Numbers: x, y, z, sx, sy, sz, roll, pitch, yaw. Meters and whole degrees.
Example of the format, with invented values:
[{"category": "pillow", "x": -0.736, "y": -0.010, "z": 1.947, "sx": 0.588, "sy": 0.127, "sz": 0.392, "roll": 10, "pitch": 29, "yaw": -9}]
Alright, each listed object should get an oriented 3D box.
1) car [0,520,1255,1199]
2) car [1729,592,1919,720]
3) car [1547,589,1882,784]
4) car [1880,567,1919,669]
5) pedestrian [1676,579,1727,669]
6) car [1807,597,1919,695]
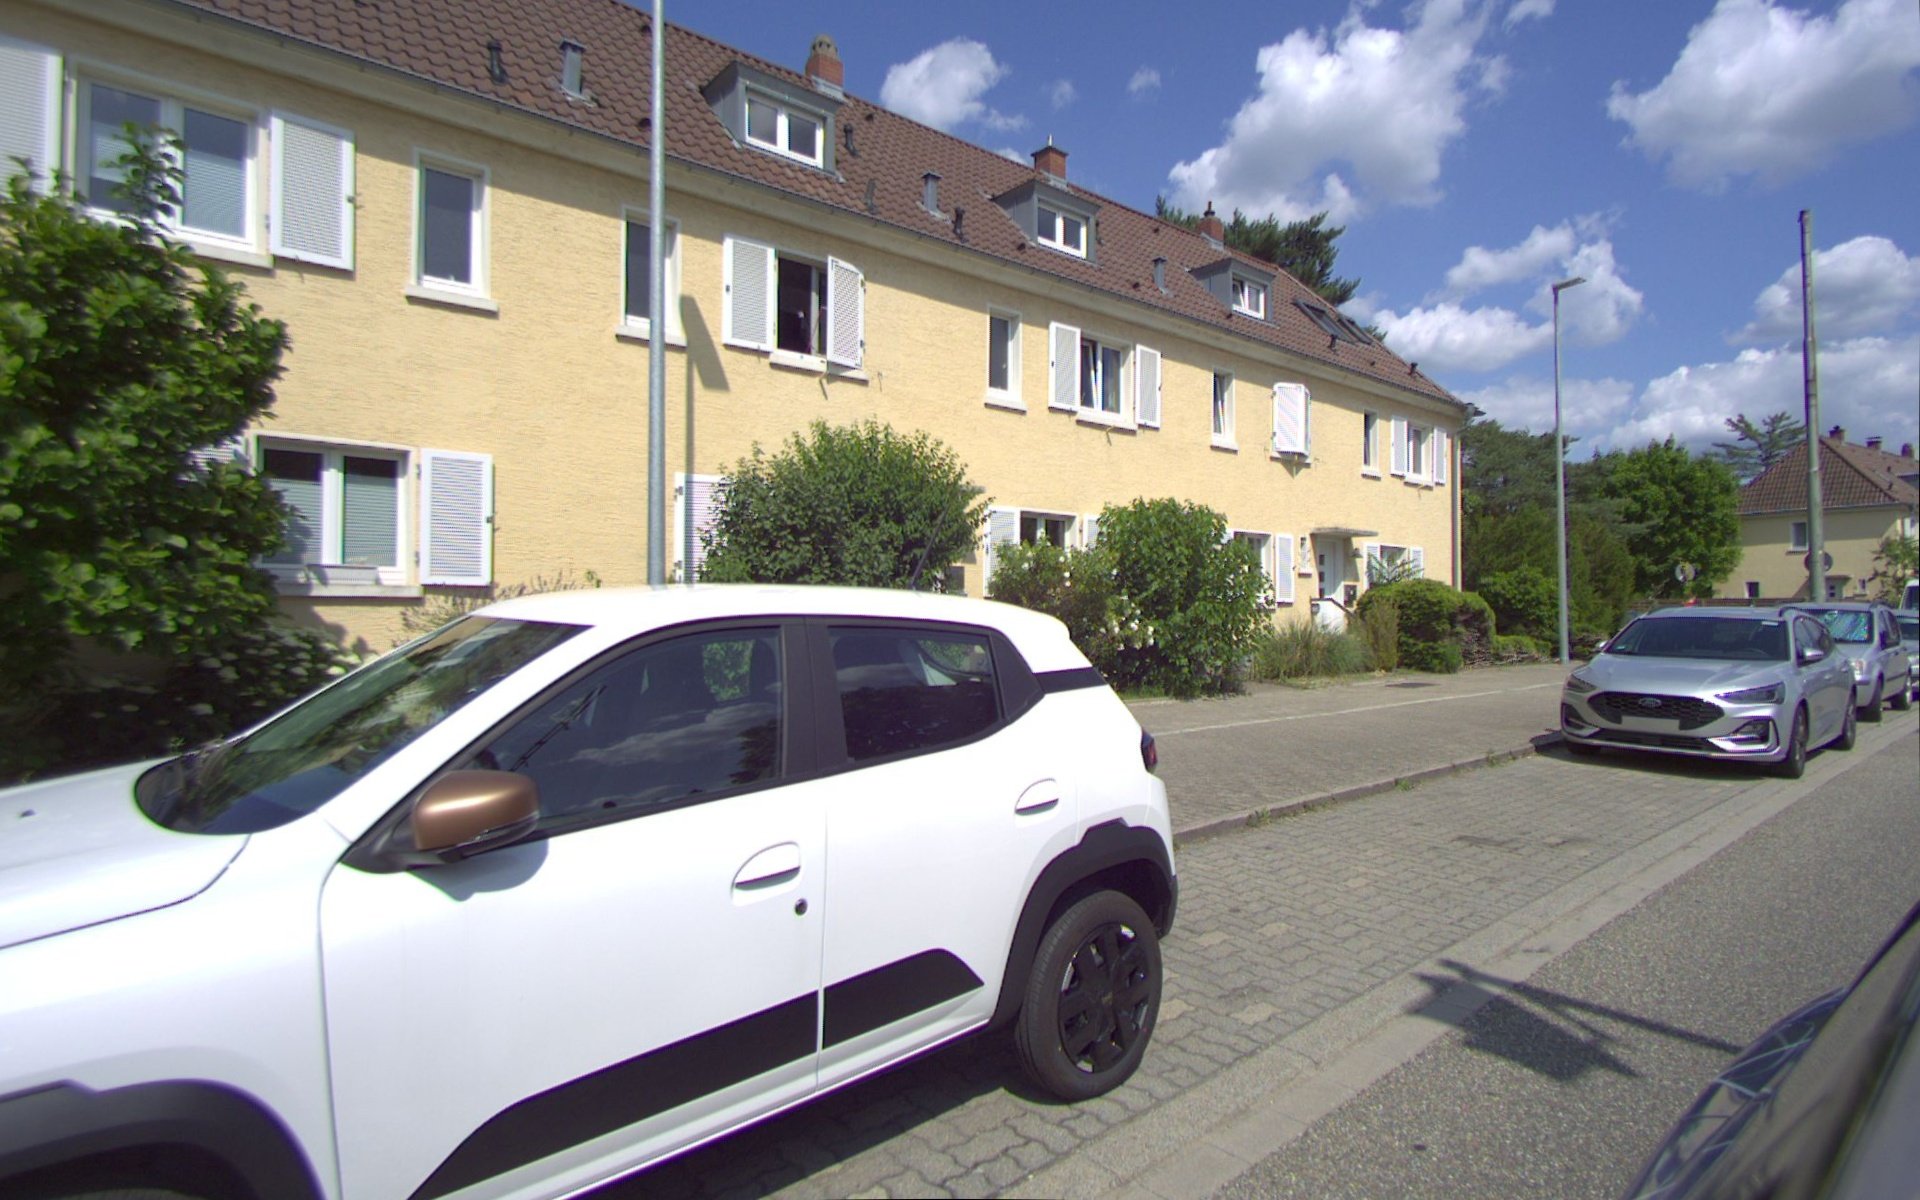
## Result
[{"category": "car", "x": -0.928, "y": 0.639, "z": 2.711, "sx": 3.742, "sy": 1.500, "sz": 1.530, "roll": 0, "pitch": 0, "yaw": -41}, {"category": "car", "x": 12.355, "y": 0.692, "z": 14.245, "sx": 3.741, "sy": 1.569, "sz": 1.631, "roll": 0, "pitch": 0, "yaw": -40}, {"category": "car", "x": 7.550, "y": 0.686, "z": 9.966, "sx": 4.308, "sy": 1.517, "sz": 1.753, "roll": 1, "pitch": 0, "yaw": -41}, {"category": "car", "x": 23.583, "y": 0.411, "z": 23.382, "sx": 6.248, "sy": 2.210, "sz": 2.283, "roll": 0, "pitch": 0, "yaw": -36}, {"category": "pedestrian", "x": 17.298, "y": 0.549, "z": 23.608, "sx": 0.748, "sy": 2.039, "sz": 0.774, "roll": 1, "pitch": -1, "yaw": -39}, {"category": "car", "x": 16.063, "y": 0.720, "z": 17.344, "sx": 4.179, "sy": 1.523, "sz": 1.711, "roll": 1, "pitch": 0, "yaw": -40}]
